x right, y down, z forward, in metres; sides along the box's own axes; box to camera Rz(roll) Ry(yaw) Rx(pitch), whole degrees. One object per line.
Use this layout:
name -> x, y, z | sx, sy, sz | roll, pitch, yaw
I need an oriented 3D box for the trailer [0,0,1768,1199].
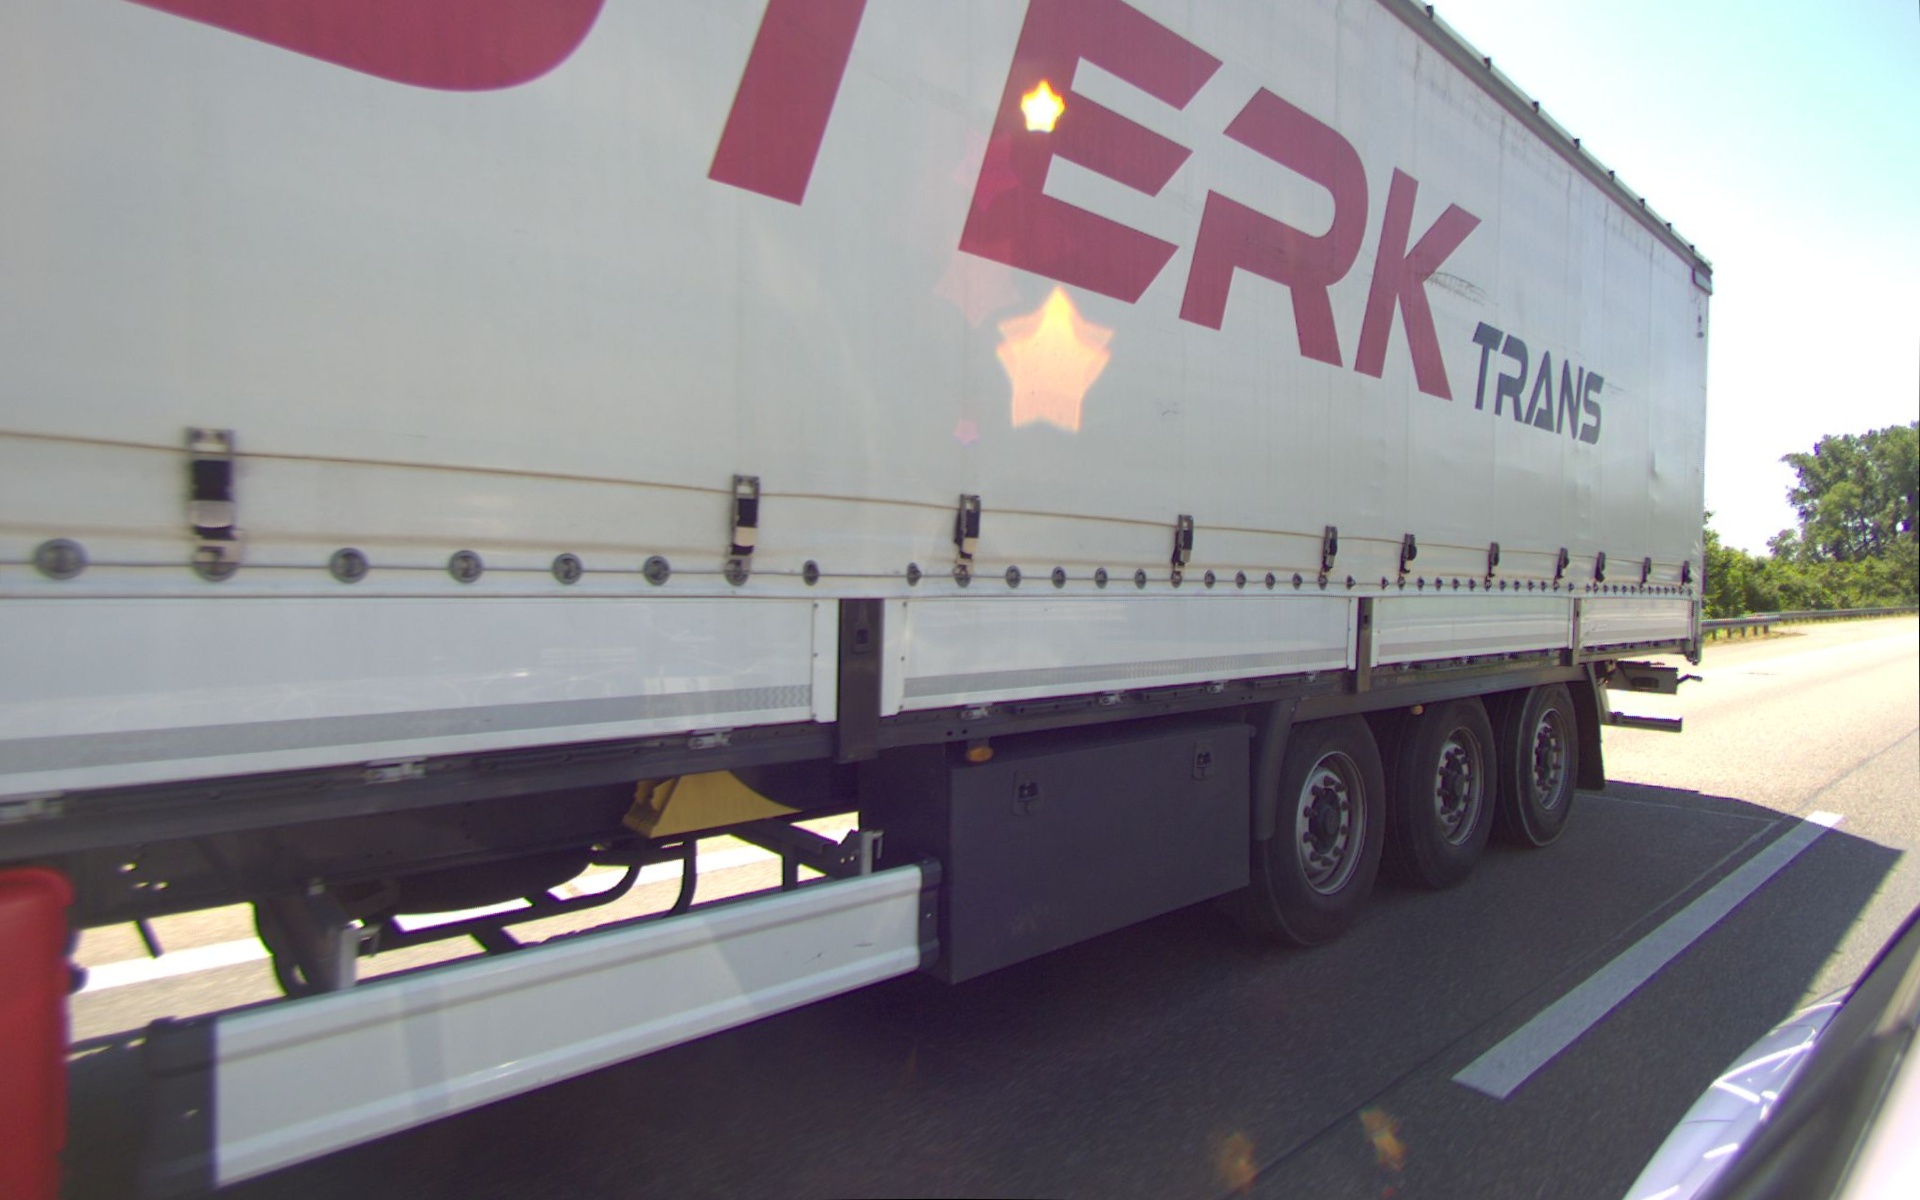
trailer -> 0.768, -0.725, 5.080 | 13.904, 4.140, 2.711 | 0, 0, -41
